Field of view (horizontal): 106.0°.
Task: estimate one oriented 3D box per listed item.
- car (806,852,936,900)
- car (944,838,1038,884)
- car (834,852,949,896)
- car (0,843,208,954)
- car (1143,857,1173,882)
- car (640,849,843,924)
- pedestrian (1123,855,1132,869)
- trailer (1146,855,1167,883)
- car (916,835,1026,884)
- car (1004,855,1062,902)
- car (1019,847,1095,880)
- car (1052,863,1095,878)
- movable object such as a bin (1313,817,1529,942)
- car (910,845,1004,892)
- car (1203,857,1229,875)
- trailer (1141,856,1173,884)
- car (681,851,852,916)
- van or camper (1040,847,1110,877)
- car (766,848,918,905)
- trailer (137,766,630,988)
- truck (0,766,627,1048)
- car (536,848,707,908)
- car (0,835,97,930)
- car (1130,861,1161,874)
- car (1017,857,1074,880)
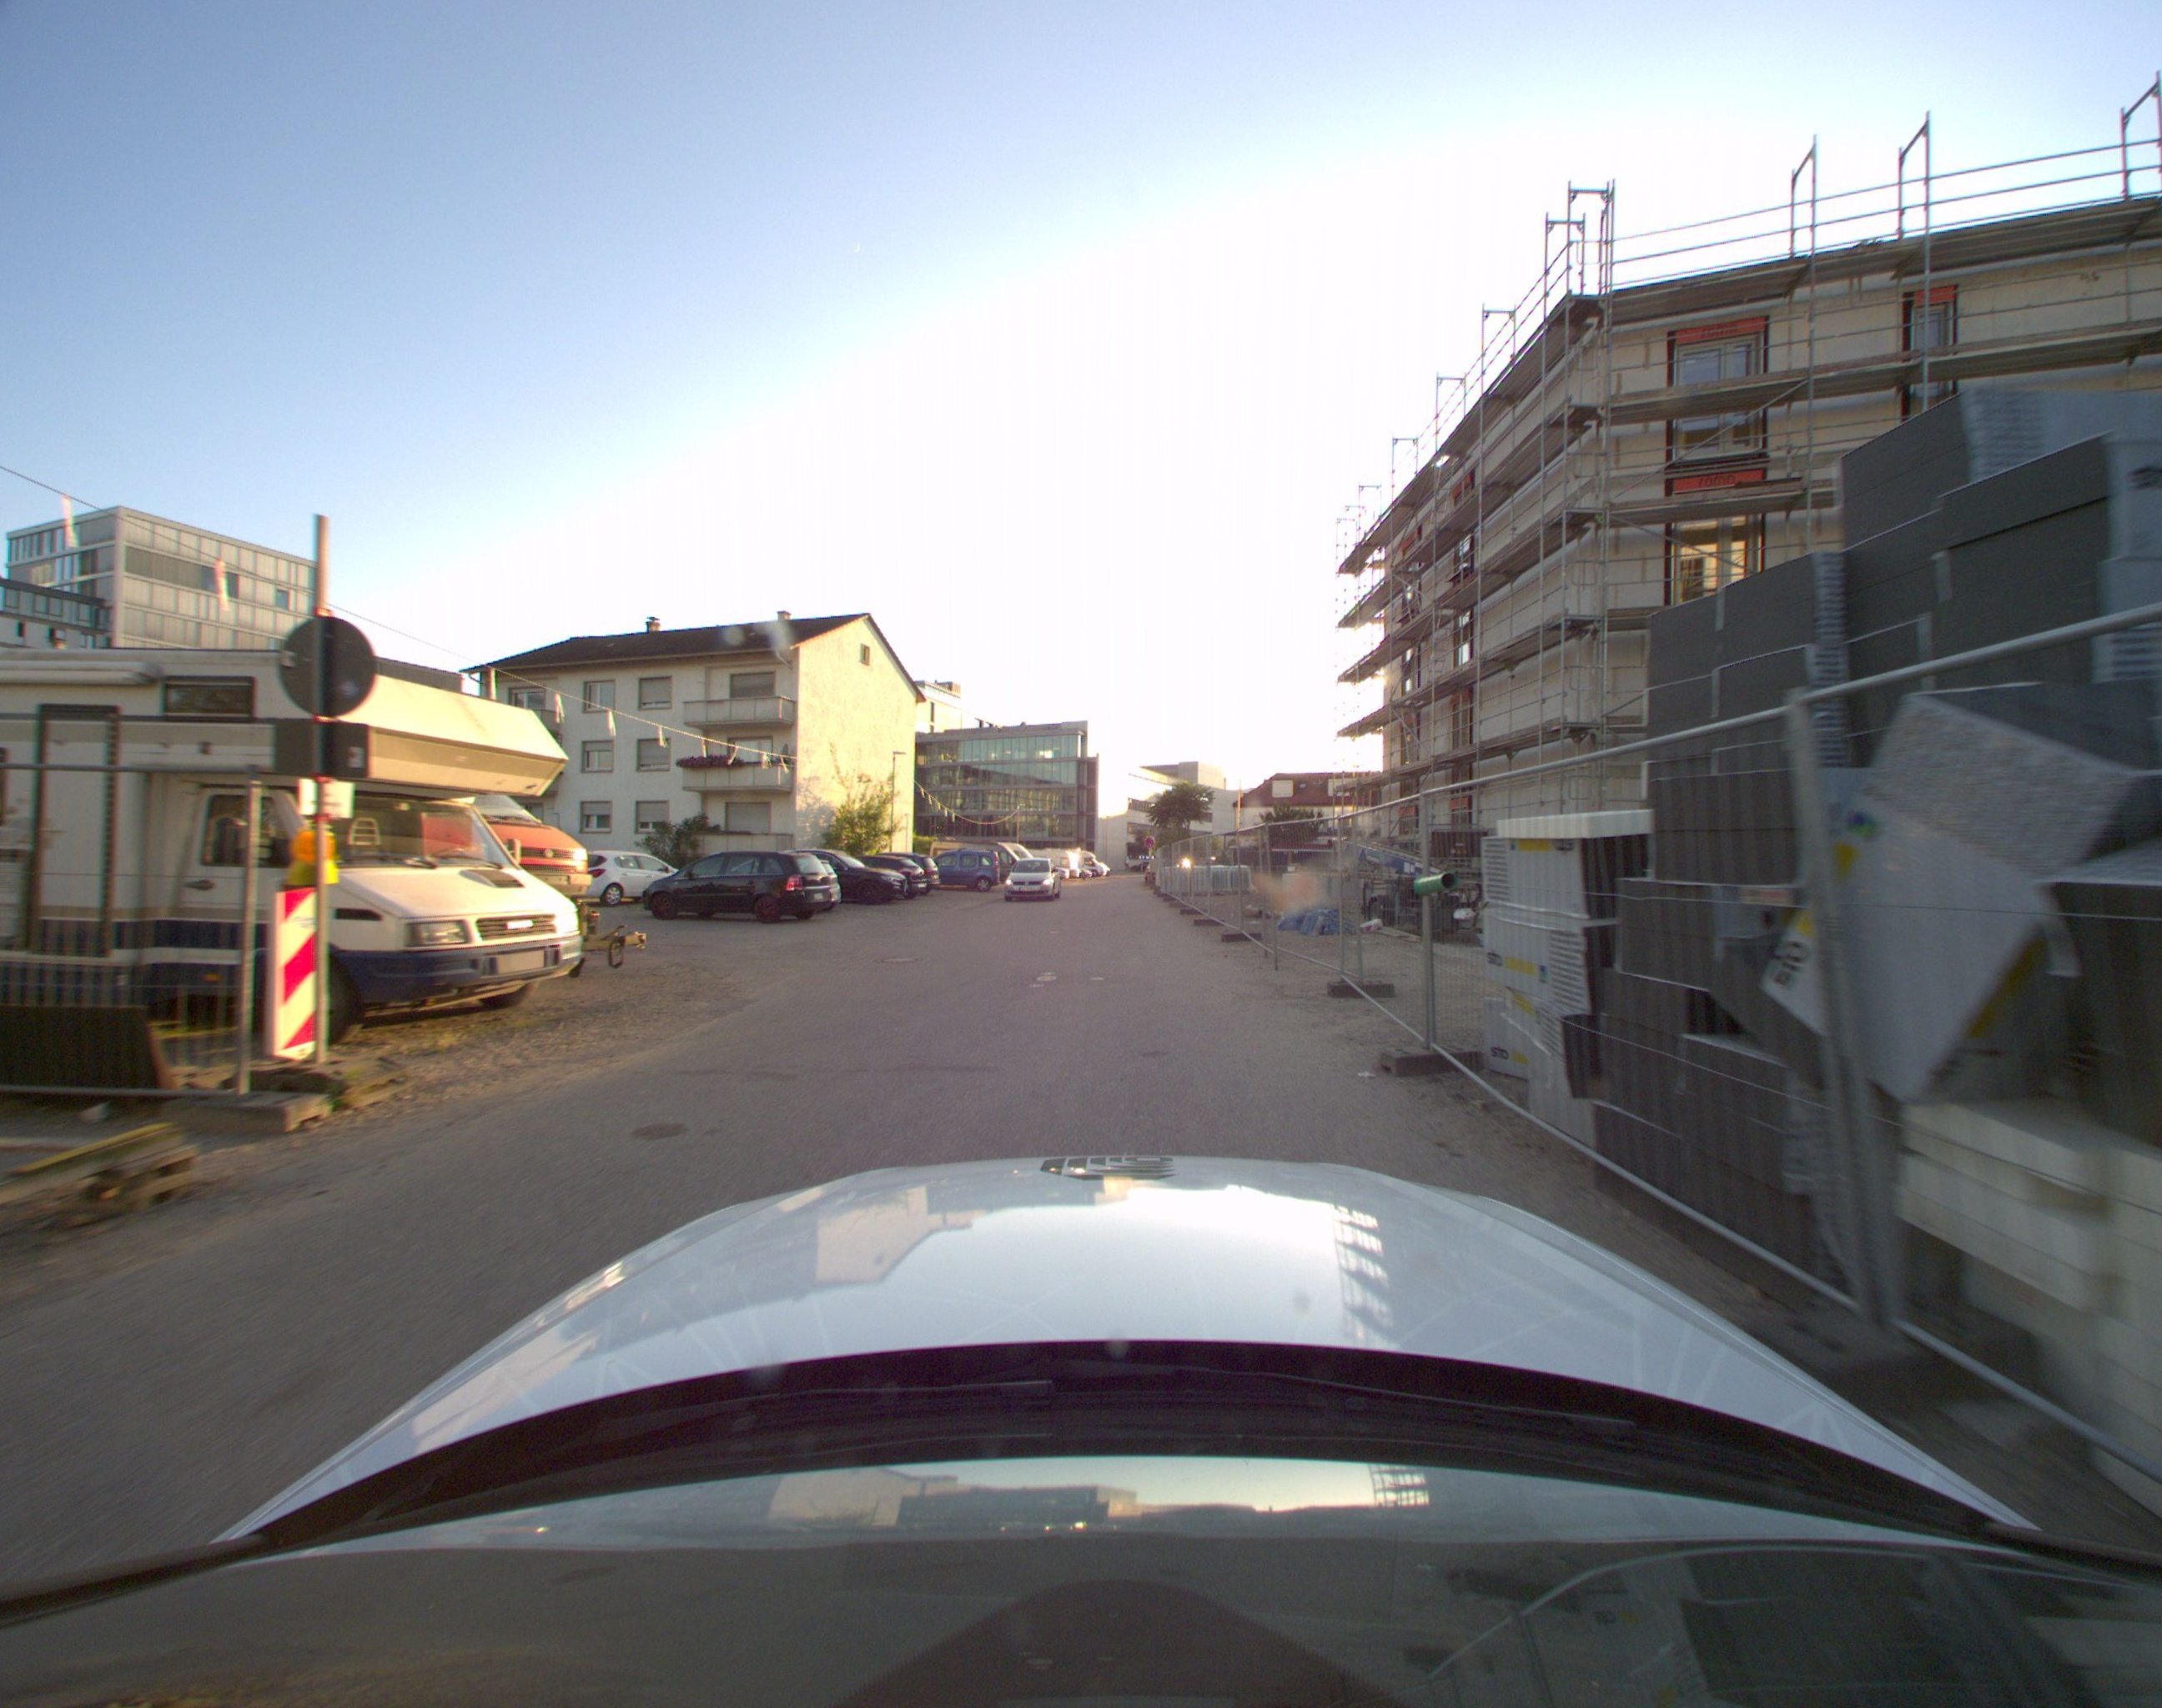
[{"bbox_3d":[-7.109,0.726,27.694,3.900,1.517,1.648,1,-2,11],"label":"car"},{"bbox_3d":[-6.000,0.463,54.464,5.797,2.713,2.054,3,0,5],"label":"car"},{"bbox_3d":[-7.209,0.723,31.097,3.900,1.580,1.648,1,0,11],"label":"car"},{"bbox_3d":[-15.609,0.597,11.599,1.833,1.523,3.946,1,-1,7],"label":"car"},{"bbox_3d":[5.734,1.134,59.937,1.795,1.725,4.941,-2,-1,10],"label":"car"},{"bbox_3d":[-7.975,0.724,19.292,4.010,1.620,1.855,1,-1,11],"label":"car"},{"bbox_3d":[6.299,1.102,110.239,0.906,1.850,0.847,0,0,-35],"label":"pedestrian"},{"bbox_3d":[4.686,0.940,50.707,1.245,1.665,2.806,-1,-1,4],"label":"trailer"},{"bbox_3d":[-6.727,0.366,50.311,6.366,2.713,2.113,3,-2,0],"label":"car"},{"bbox_3d":[-1.719,0.871,30.364,1.664,1.620,4.288,1,-1,2],"label":"car"},{"bbox_3d":[-2.020,0.809,69.390,5.846,2.534,2.420,2,-2,14],"label":"car"},{"bbox_3d":[-0.715,1.563,77.933,3.783,1.328,1.698,2,0,11],"label":"car"},{"bbox_3d":[7.418,0.506,19.116,2.056,2.274,8.376,0,-1,4],"label":"movable object such as a bin"},{"bbox_3d":[-5.454,0.628,36.267,3.919,1.911,1.745,3,0,-6],"label":"car"},{"bbox_3d":[15.988,1.413,96.390,2.048,2.095,4.897,-1,-1,21],"label":"car"},{"bbox_3d":[5.104,1.050,54.214,1.720,1.777,4.950,-1,-1,9],"label":"trailer"},{"bbox_3d":[-8.493,0.757,22.119,3.900,1.521,1.815,2,1,11],"label":"car"},{"bbox_3d":[-0.561,0.844,83.302,6.693,2.898,2.417,1,-1,13],"label":"van or camper"},{"bbox_3d":[-7.251,0.656,24.940,4.070,1.628,1.823,0,0,5],"label":"car"},{"bbox_3d":[-8.850,0.253,10.595,4.764,2.433,2.139,2,-2,9],"label":"trailer"},{"bbox_3d":[-7.763,0.364,7.393,5.983,2.043,2.359,1,-1,5],"label":"truck"},{"bbox_3d":[-12.873,0.652,23.154,1.830,1.523,4.166,1,-1,14],"label":"car"},{"bbox_3d":[-18.484,0.438,12.453,1.833,1.523,3.947,1,-1,8],"label":"car"},{"bbox_3d":[8.396,1.738,106.312,3.704,1.482,1.778,2,1,18],"label":"car"},{"bbox_3d":[-2.770,1.159,64.547,4.095,1.591,1.755,3,0,16],"label":"car"}]
